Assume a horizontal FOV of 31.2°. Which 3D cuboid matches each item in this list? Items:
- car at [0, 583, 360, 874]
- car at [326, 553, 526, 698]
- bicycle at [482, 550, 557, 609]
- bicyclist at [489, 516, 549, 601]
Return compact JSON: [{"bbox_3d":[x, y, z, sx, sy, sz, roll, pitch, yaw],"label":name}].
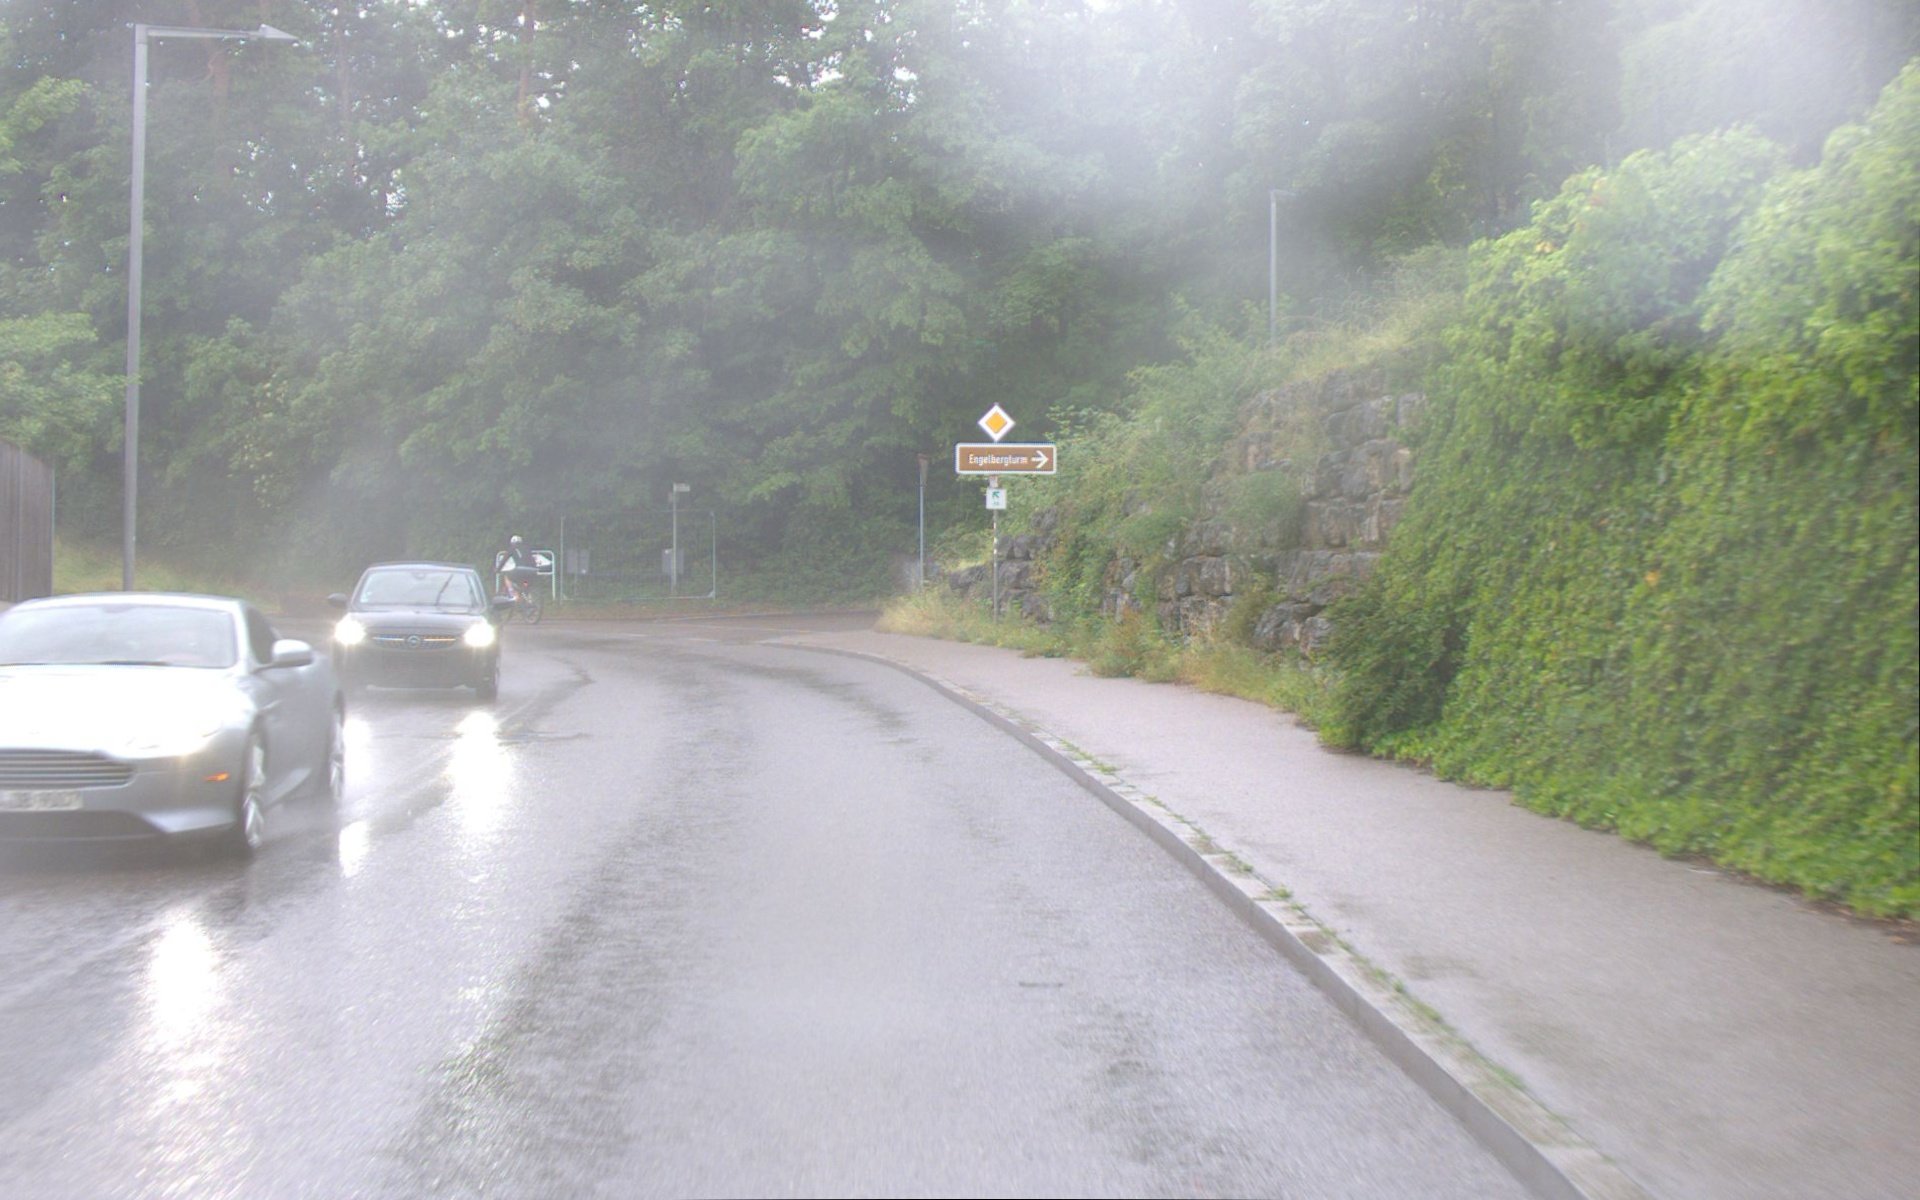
[{"bbox_3d":[-4.407,0.585,17.964,1.881,1.279,4.209,1,1,-1],"label":"car"},{"bbox_3d":[-5.701,0.237,37.087,1.881,1.444,4.210,1,1,-6],"label":"car"},{"bbox_3d":[-8.610,-0.403,67.208,1.620,1.081,0.527,3,1,44],"label":"bicycle"},{"bbox_3d":[-8.612,-0.810,67.188,0.721,1.609,0.905,1,1,-44],"label":"bicyclist"}]
